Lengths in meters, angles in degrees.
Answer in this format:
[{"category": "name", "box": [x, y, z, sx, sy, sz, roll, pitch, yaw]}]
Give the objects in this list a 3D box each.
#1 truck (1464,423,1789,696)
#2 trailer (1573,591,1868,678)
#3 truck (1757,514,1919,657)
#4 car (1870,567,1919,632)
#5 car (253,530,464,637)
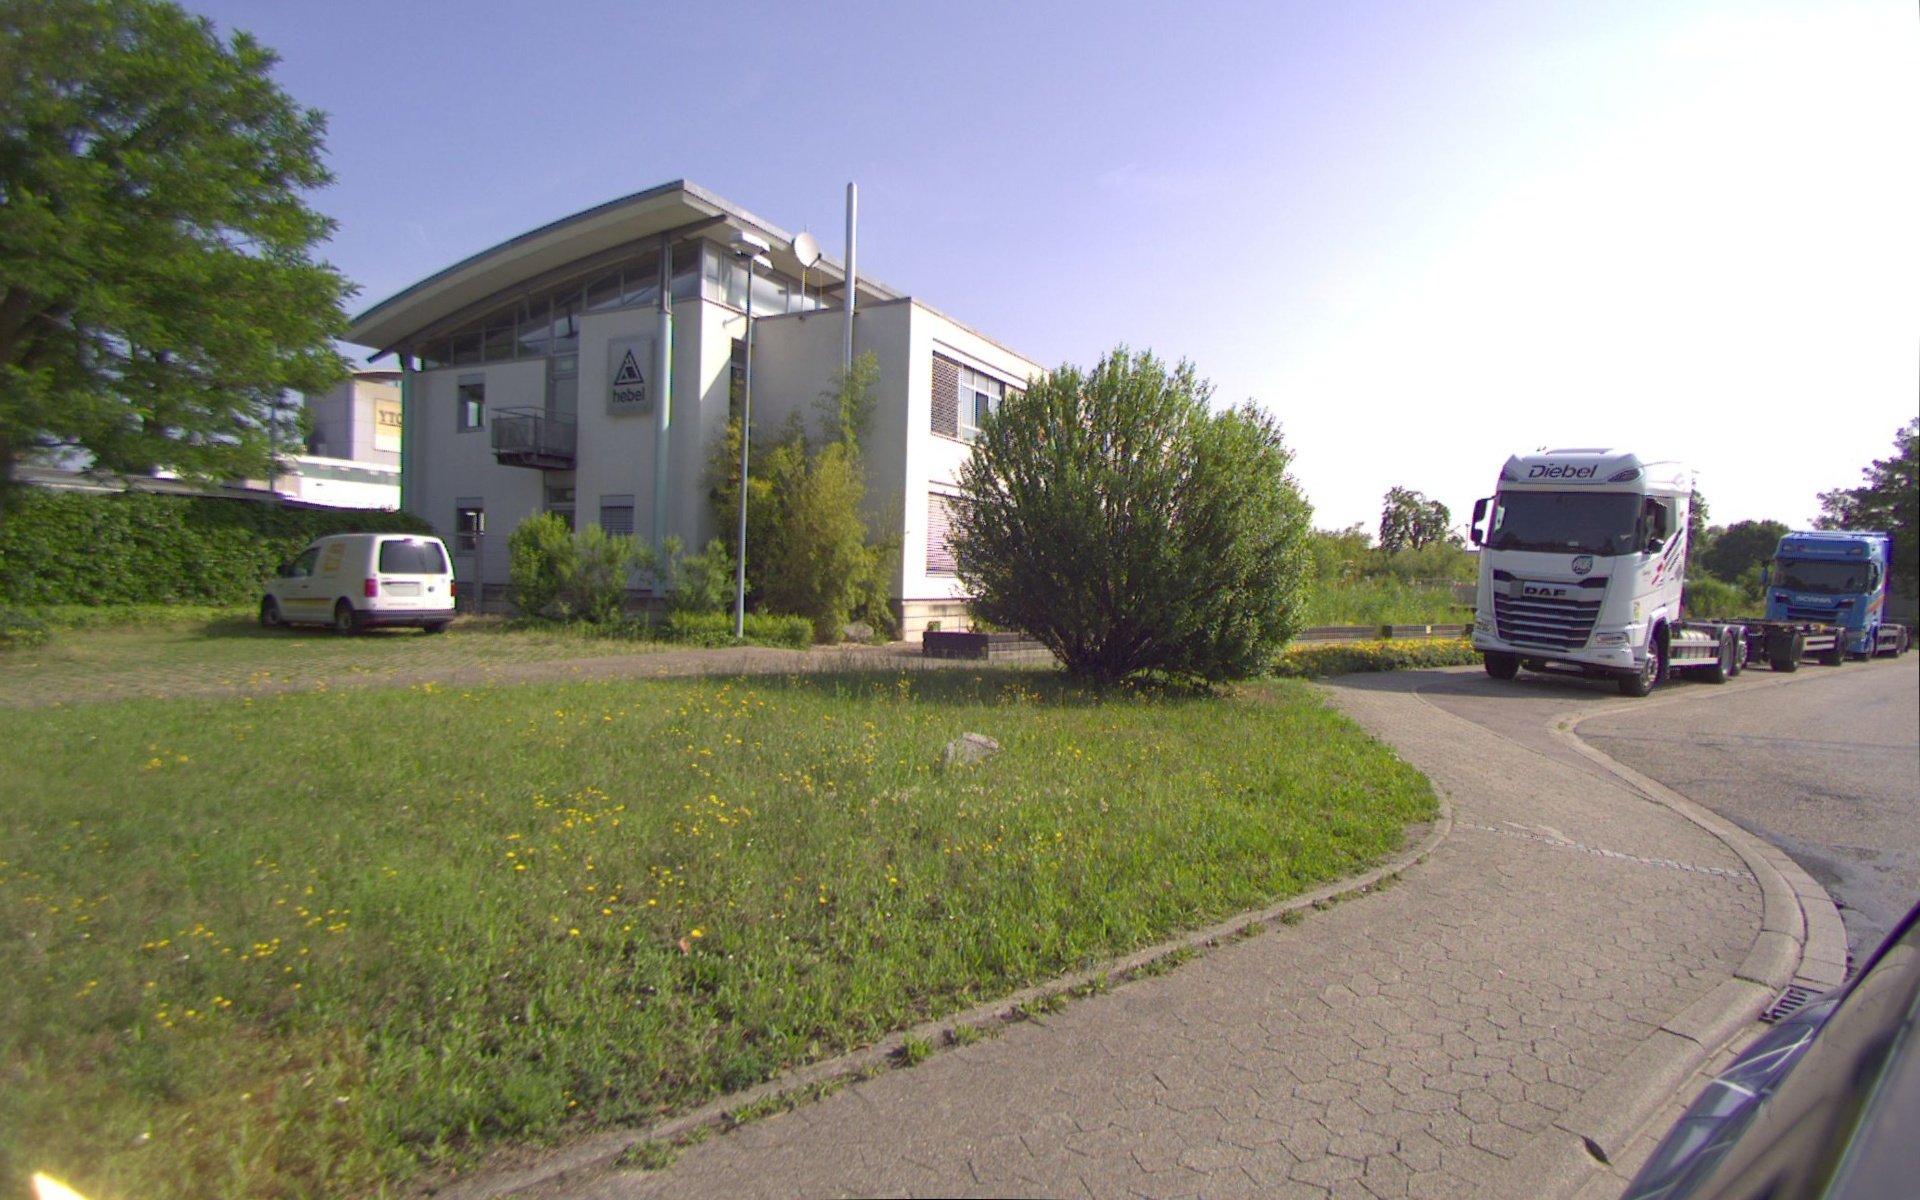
[{"category": "truck", "box": [12.546, -0.678, 18.637, 8.430, 4.029, 2.559, 0, 4, -41]}, {"category": "trailer", "box": [18.345, 0.613, 23.733, 13.887, 1.408, 2.553, 0, 4, -41]}, {"category": "truck", "box": [28.977, -0.438, 32.803, 10.394, 3.988, 3.041, 1, 2, -42]}, {"category": "car", "box": [51.099, -0.007, 50.635, 2.621, 3.277, 8.131, 0, 0, -45]}, {"category": "car", "box": [-11.016, -0.346, 18.492, 3.883, 1.772, 1.733, 2, 1, 32]}]
